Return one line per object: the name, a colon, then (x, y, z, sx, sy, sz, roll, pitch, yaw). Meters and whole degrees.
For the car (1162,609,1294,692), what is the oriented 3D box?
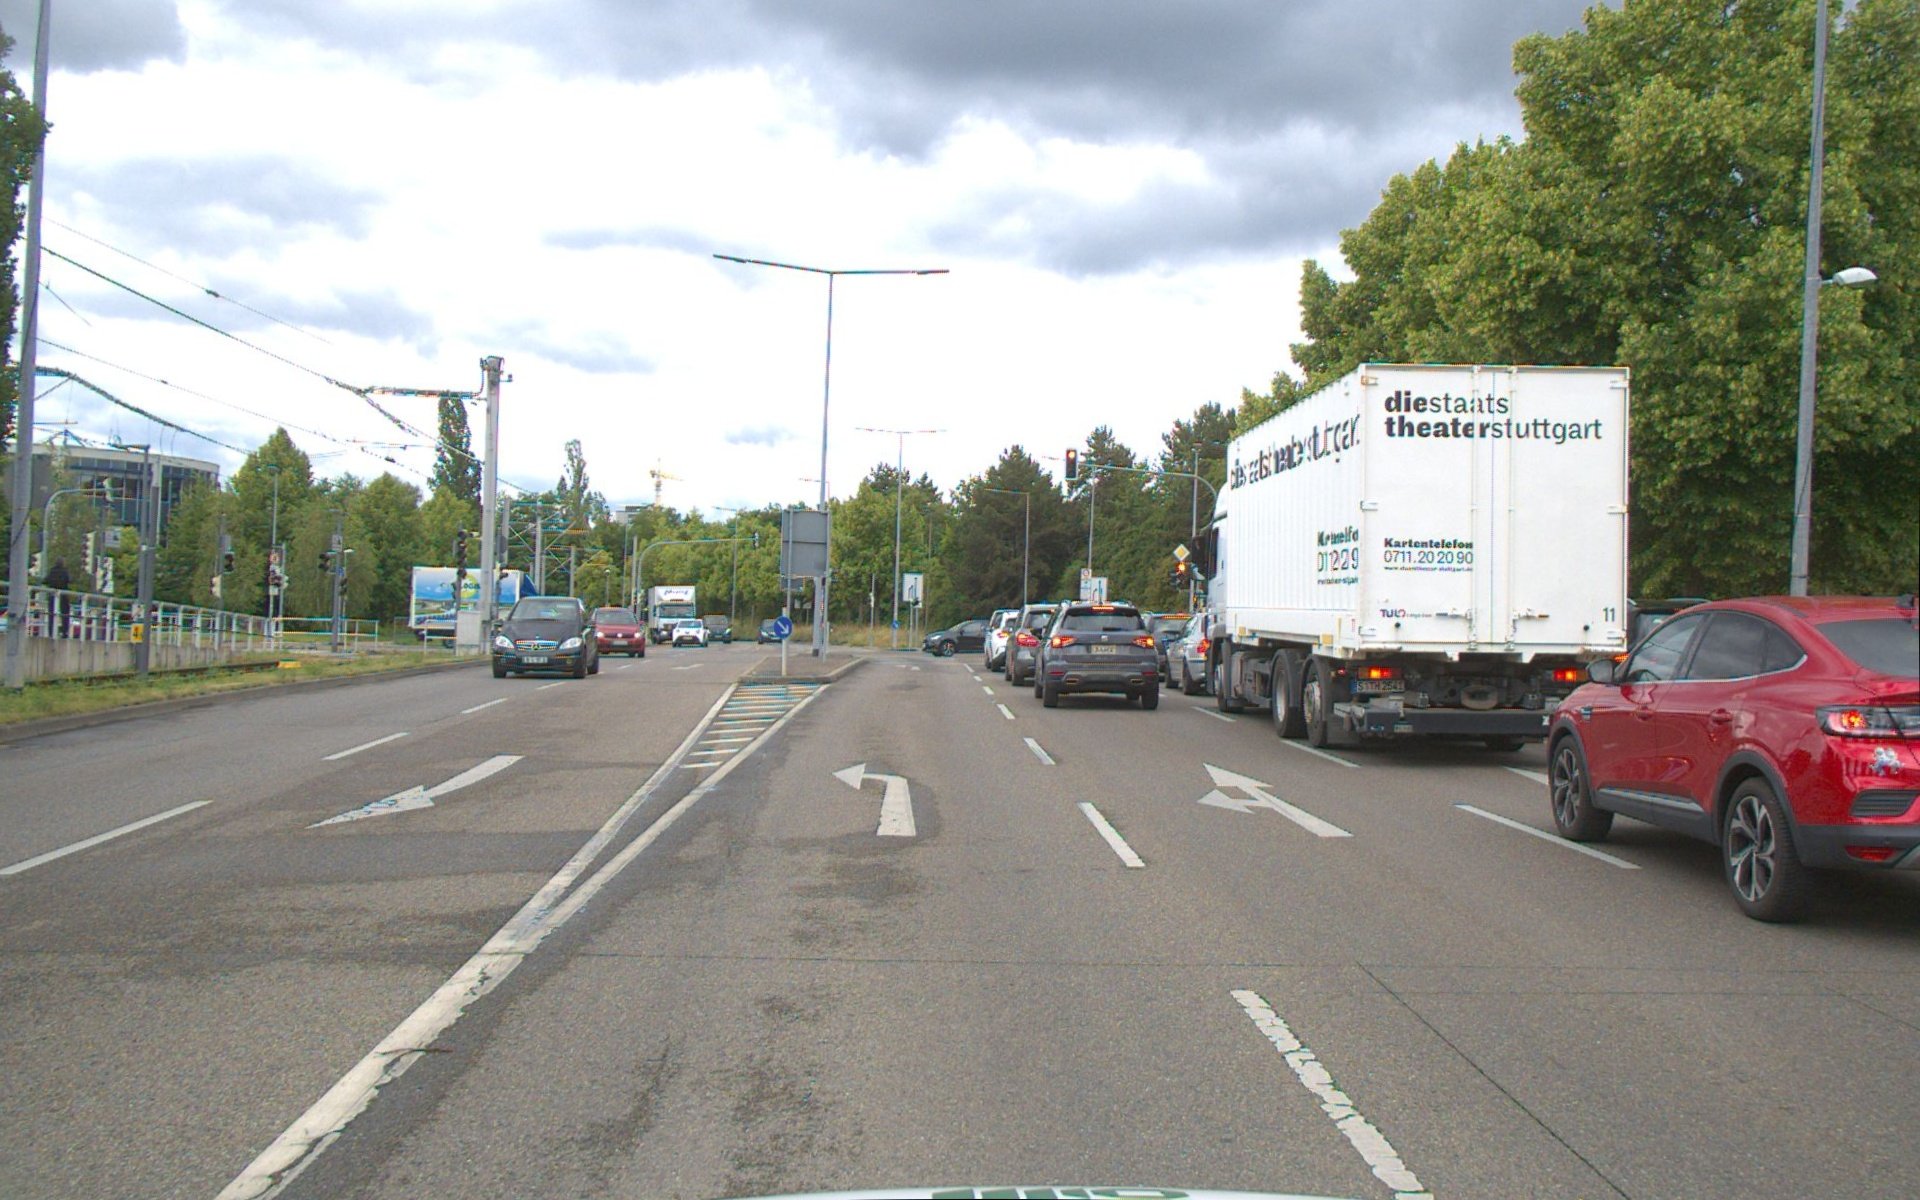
car: (4.715, 0.864, 29.623, 1.774, 1.378, 4.118, 0, -1, 1)

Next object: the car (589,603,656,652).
car: (-10.782, 0.849, 53.103, 1.669, 1.514, 4.082, 0, 0, -5)

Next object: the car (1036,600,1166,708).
car: (2.076, 0.773, 25.311, 1.663, 1.512, 4.000, 0, 0, 0)

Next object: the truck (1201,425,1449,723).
truck: (4.937, -0.339, 23.062, 2.518, 3.770, 4.106, 0, 0, 0)

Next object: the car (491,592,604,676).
car: (-8.275, 0.677, 33.459, 1.692, 1.601, 3.702, 0, -1, -6)

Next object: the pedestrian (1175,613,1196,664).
pedestrian: (6.641, 1.123, 48.789, 0.598, 1.479, 0.354, 1, 1, 7)

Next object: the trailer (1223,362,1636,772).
trailer: (4.960, -0.326, 19.165, 2.513, 3.770, 7.763, 0, 0, 0)

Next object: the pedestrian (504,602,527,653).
pedestrian: (-14.296, 0.876, 53.210, 0.347, 1.583, 0.651, 2, 2, 32)

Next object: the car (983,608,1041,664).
car: (1.438, 1.014, 46.596, 1.504, 1.531, 2.669, 0, -1, -1)

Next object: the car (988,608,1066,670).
car: (1.621, 0.952, 41.295, 1.686, 1.447, 4.355, 0, -1, -1)

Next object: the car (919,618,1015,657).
car: (0.277, 1.517, 66.746, 3.846, 1.522, 1.598, 0, 0, -1)

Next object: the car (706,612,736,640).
car: (-15.988, 1.726, 110.739, 1.879, 1.758, 3.994, 0, 0, -7)

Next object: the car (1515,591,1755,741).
car: (8.087, 0.733, 20.083, 1.538, 1.598, 3.058, 2, 1, -2)

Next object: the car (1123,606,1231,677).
car: (4.661, 0.859, 36.126, 1.788, 1.460, 4.212, 0, 0, 0)

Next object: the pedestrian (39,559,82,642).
pedestrian: (-20.615, 0.017, 37.922, 0.561, 1.859, 0.792, 1, -1, -5)

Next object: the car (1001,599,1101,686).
car: (1.705, 0.779, 32.193, 1.762, 1.550, 4.188, 0, 0, 1)

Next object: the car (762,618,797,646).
car: (-11.488, 2.018, 105.137, 1.882, 1.603, 3.989, 0, 2, -12)

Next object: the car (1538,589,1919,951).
car: (4.755, 0.734, 9.244, 1.672, 1.550, 4.320, 0, 0, 2)

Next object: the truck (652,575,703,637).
truck: (-18.127, 0.365, 106.618, 2.609, 3.713, 9.489, 2, 0, -6)

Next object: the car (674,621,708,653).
car: (-14.747, 2.020, 90.830, 1.742, 1.534, 3.740, 1, 1, -8)

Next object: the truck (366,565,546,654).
truck: (-21.513, 0.362, 70.991, 7.111, 3.661, 2.685, 0, 2, -12)

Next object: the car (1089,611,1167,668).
car: (4.368, 1.032, 43.571, 1.514, 1.428, 3.998, 0, -1, -2)
